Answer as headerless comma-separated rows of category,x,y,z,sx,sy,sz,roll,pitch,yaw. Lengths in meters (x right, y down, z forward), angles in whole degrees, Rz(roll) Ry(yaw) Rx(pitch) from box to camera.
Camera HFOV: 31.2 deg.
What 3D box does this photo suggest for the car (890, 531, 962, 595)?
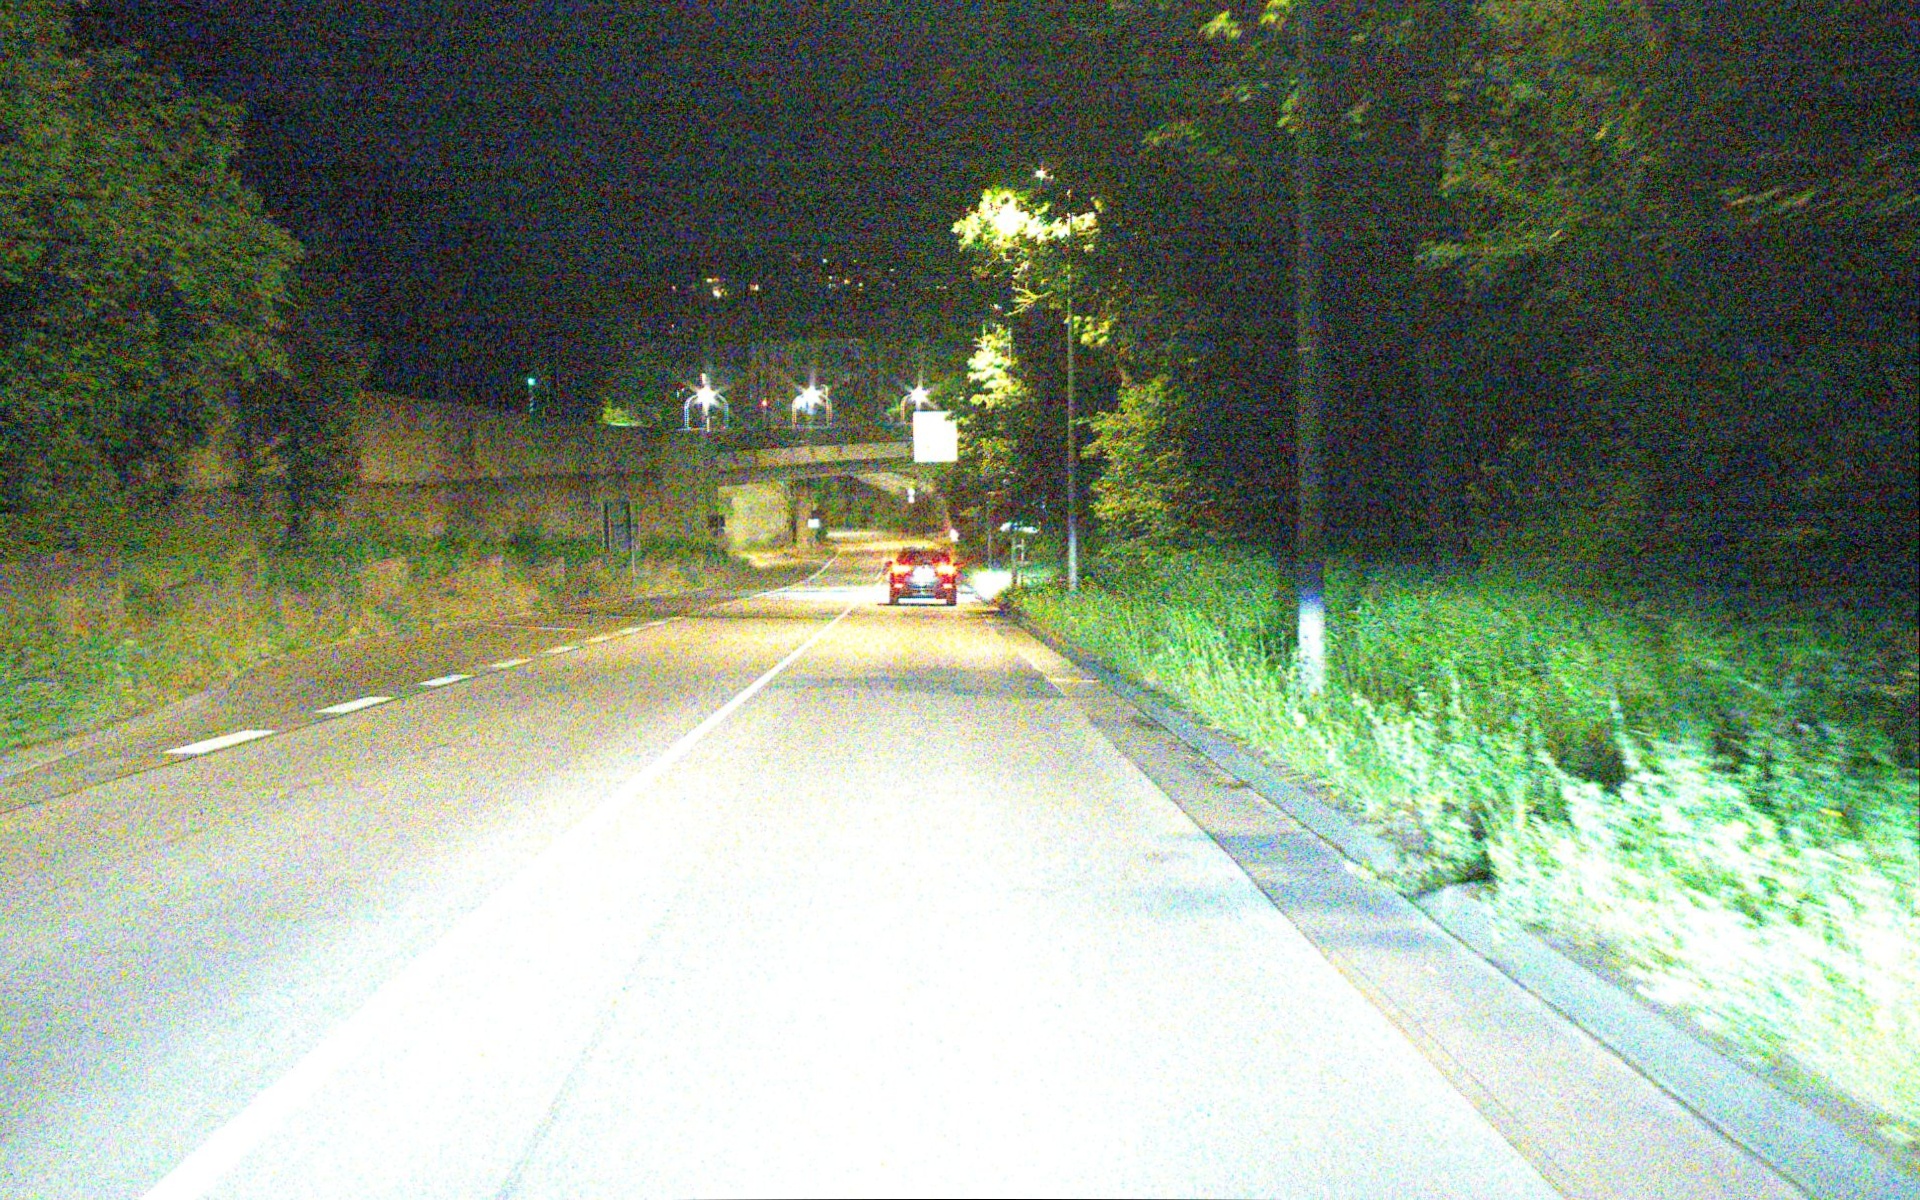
car,-0.907,-1.016,93.632,1.763,1.636,3.723,0,2,2
